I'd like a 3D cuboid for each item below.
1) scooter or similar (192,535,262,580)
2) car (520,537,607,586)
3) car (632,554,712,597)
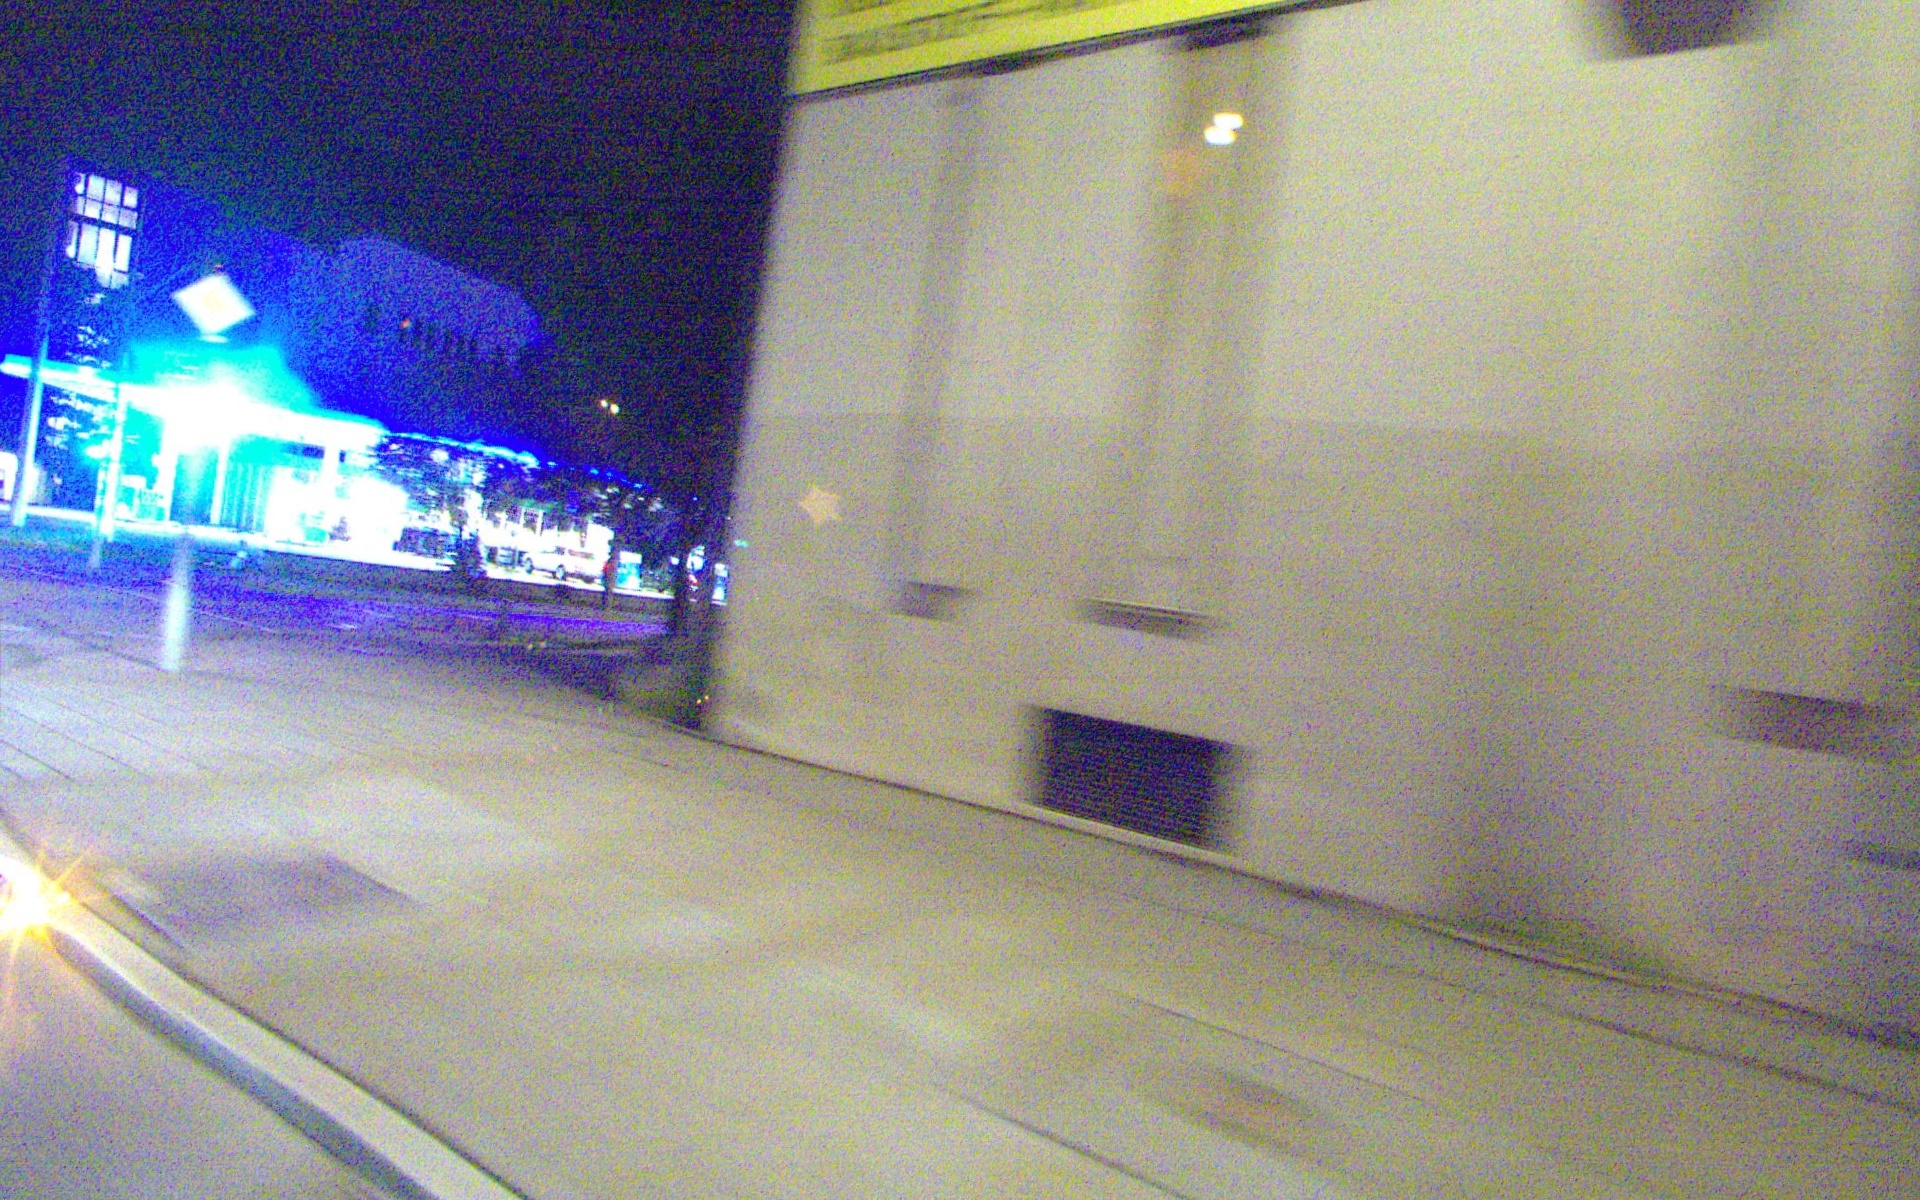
[{"bbox_3d":[-20.245,-1.165,27.827,0.704,1.105,1.678,8,0,-6],"label":"scooter or similar"},{"bbox_3d":[-20.471,-2.003,51.903,4.182,1.790,1.995,10,1,35],"label":"car"},{"bbox_3d":[-16.287,-1.406,56.805,3.931,1.683,1.998,10,1,29],"label":"car"}]
